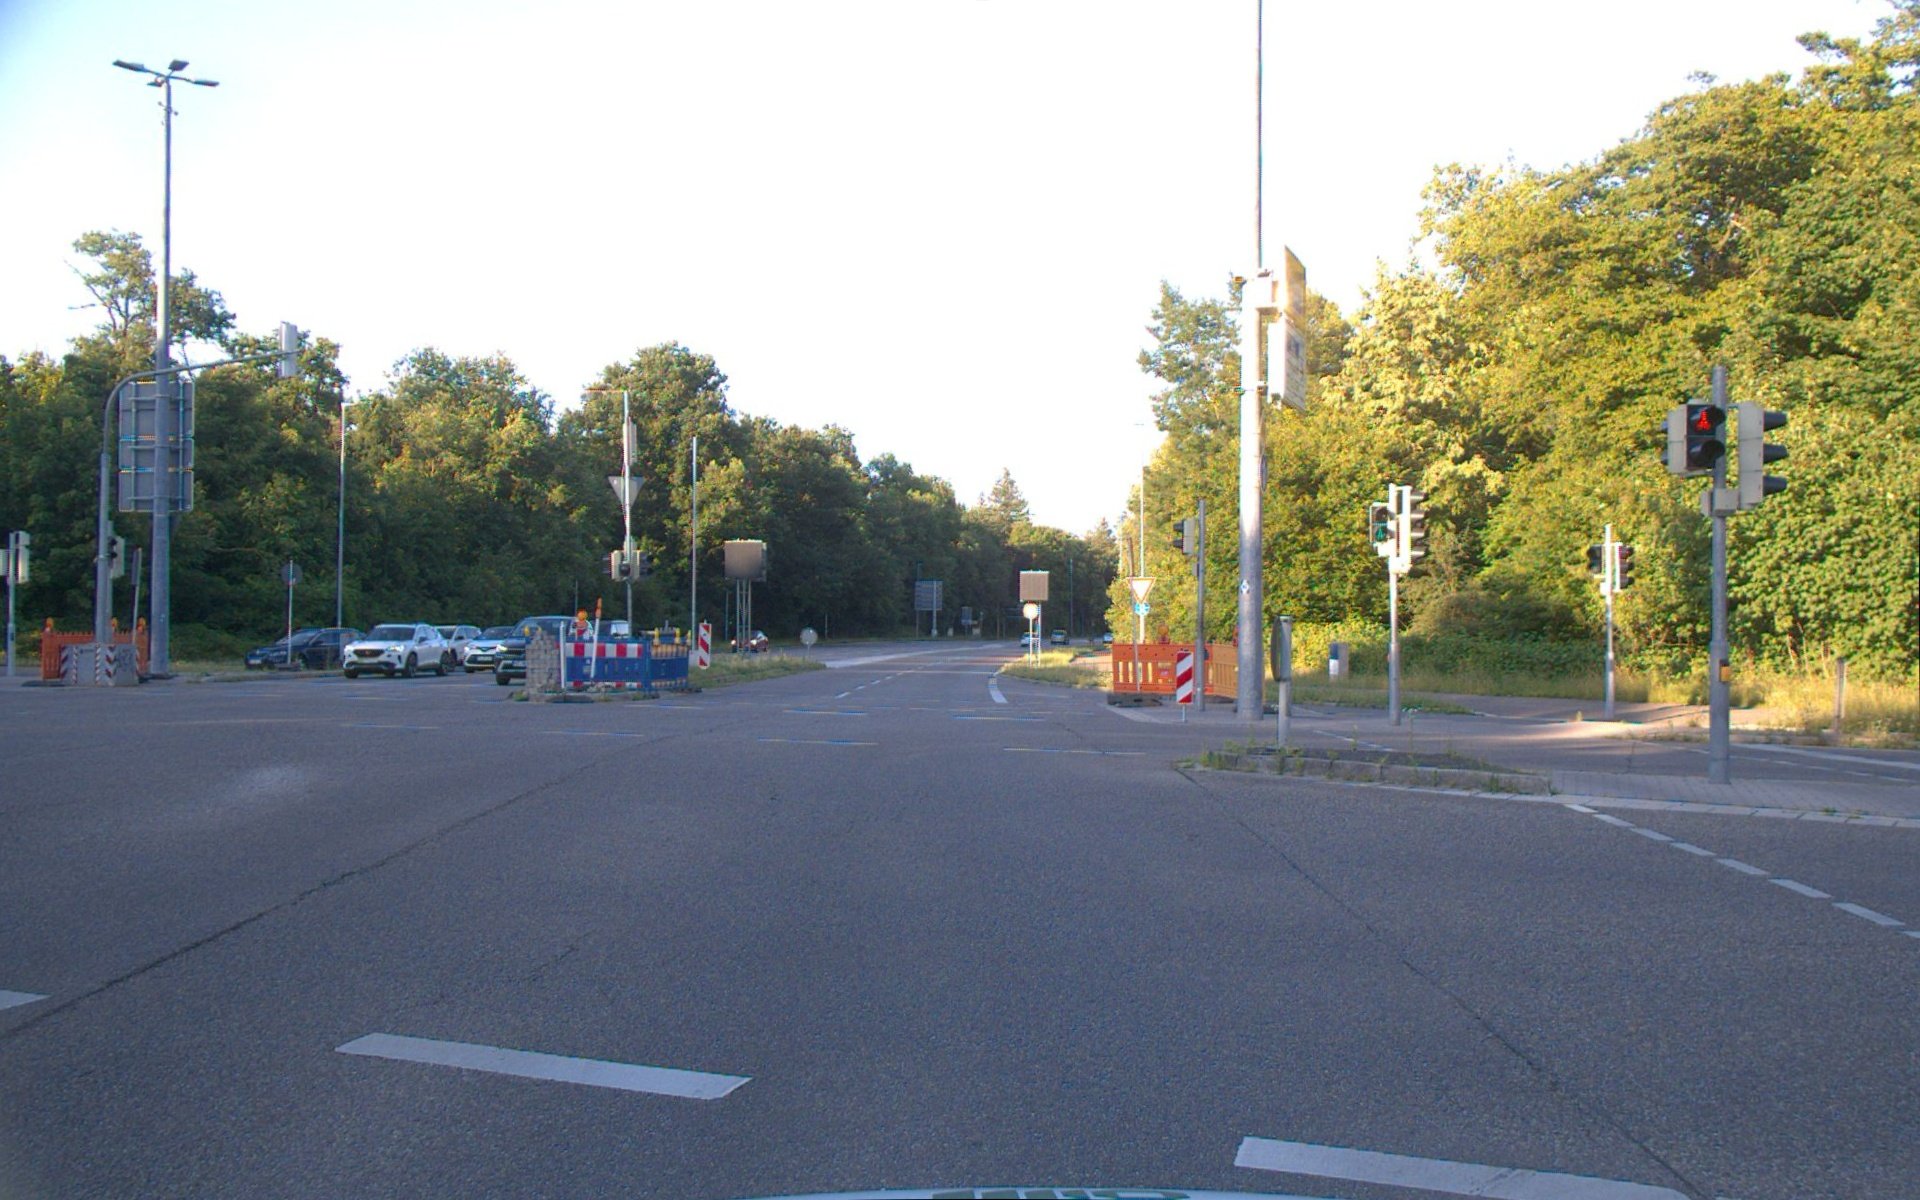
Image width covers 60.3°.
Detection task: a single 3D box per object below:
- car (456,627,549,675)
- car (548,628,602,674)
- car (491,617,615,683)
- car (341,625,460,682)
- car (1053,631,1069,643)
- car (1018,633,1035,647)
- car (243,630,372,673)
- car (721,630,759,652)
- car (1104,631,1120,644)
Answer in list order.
[{"bbox_3d":[-14.972,1.648,54.333,1.680,1.481,4.234,0,-1,3],"label":"car"},{"bbox_3d":[-17.708,2.312,76.200,1.841,2.060,4.228,0,-1,-5],"label":"car"},{"bbox_3d":[-9.622,1.150,39.423,1.680,1.481,4.235,0,-1,3],"label":"car"},{"bbox_3d":[-15.600,1.463,46.317,1.680,1.481,4.235,0,-1,3],"label":"car"},{"bbox_3d":[11.682,4.257,190.834,1.424,1.266,2.966,0,-1,12],"label":"car"},{"bbox_3d":[6.628,3.960,165.376,1.514,1.371,3.116,0,-1,6],"label":"car"},{"bbox_3d":[-20.187,1.580,51.272,1.570,1.266,3.645,0,-1,25],"label":"car"},{"bbox_3d":[-14.702,2.731,110.739,1.838,1.447,4.234,0,-1,3],"label":"car"},{"bbox_3d":[20.032,4.920,217.805,1.544,1.561,3.680,1,-1,14],"label":"car"}]
